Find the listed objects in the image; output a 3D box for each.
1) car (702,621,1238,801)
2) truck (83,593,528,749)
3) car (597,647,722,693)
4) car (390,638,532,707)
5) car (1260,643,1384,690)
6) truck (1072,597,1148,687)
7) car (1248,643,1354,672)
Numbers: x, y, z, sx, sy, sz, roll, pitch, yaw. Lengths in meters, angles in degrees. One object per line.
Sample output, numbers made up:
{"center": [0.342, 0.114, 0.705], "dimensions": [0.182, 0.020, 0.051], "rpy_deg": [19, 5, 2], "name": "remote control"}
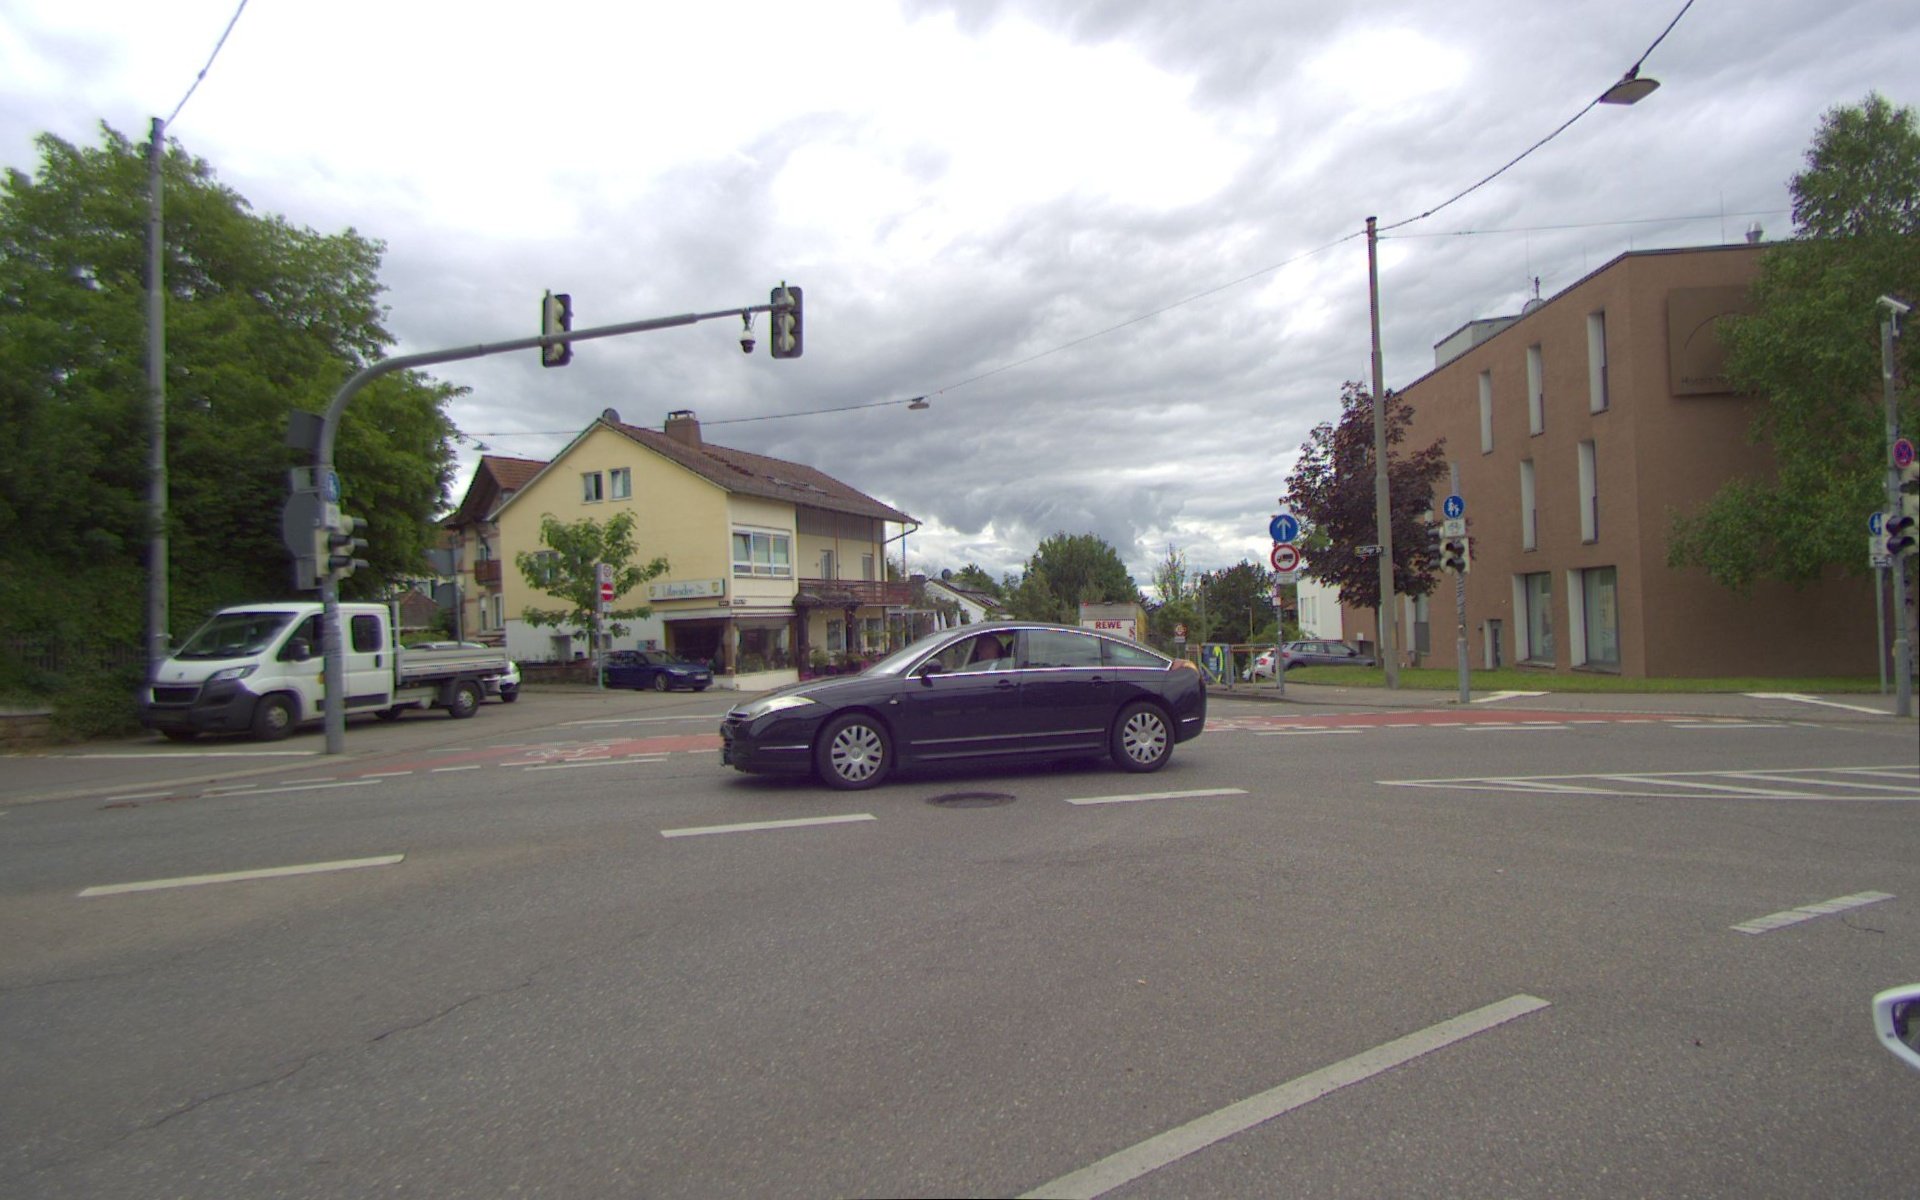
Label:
{"center": [0.040, 0.962, 9.996], "dimensions": [4.976, 1.441, 1.993], "rpy_deg": [0, -2, -18], "name": "car"}
{"center": [-10.987, 1.151, 17.877], "dimensions": [2.479, 2.217, 6.723], "rpy_deg": [-1, -2, 14], "name": "truck"}
{"center": [-10.270, 2.369, 34.298], "dimensions": [3.928, 1.468, 1.878], "rpy_deg": [-2, -3, 29], "name": "car"}
{"center": [-12.897, 1.820, 25.890], "dimensions": [3.943, 1.634, 1.989], "rpy_deg": [-3, -3, 42], "name": "car"}
{"center": [13.058, 2.383, 36.451], "dimensions": [3.924, 1.541, 1.788], "rpy_deg": [1, -2, 8], "name": "car"}
{"center": [7.252, 2.092, 47.652], "dimensions": [2.959, 3.847, 8.322], "rpy_deg": [0, -4, 13], "name": "truck"}
{"center": [13.775, 2.324, 40.726], "dimensions": [3.768, 1.105, 1.788], "rpy_deg": [-1, -2, 8], "name": "car"}
